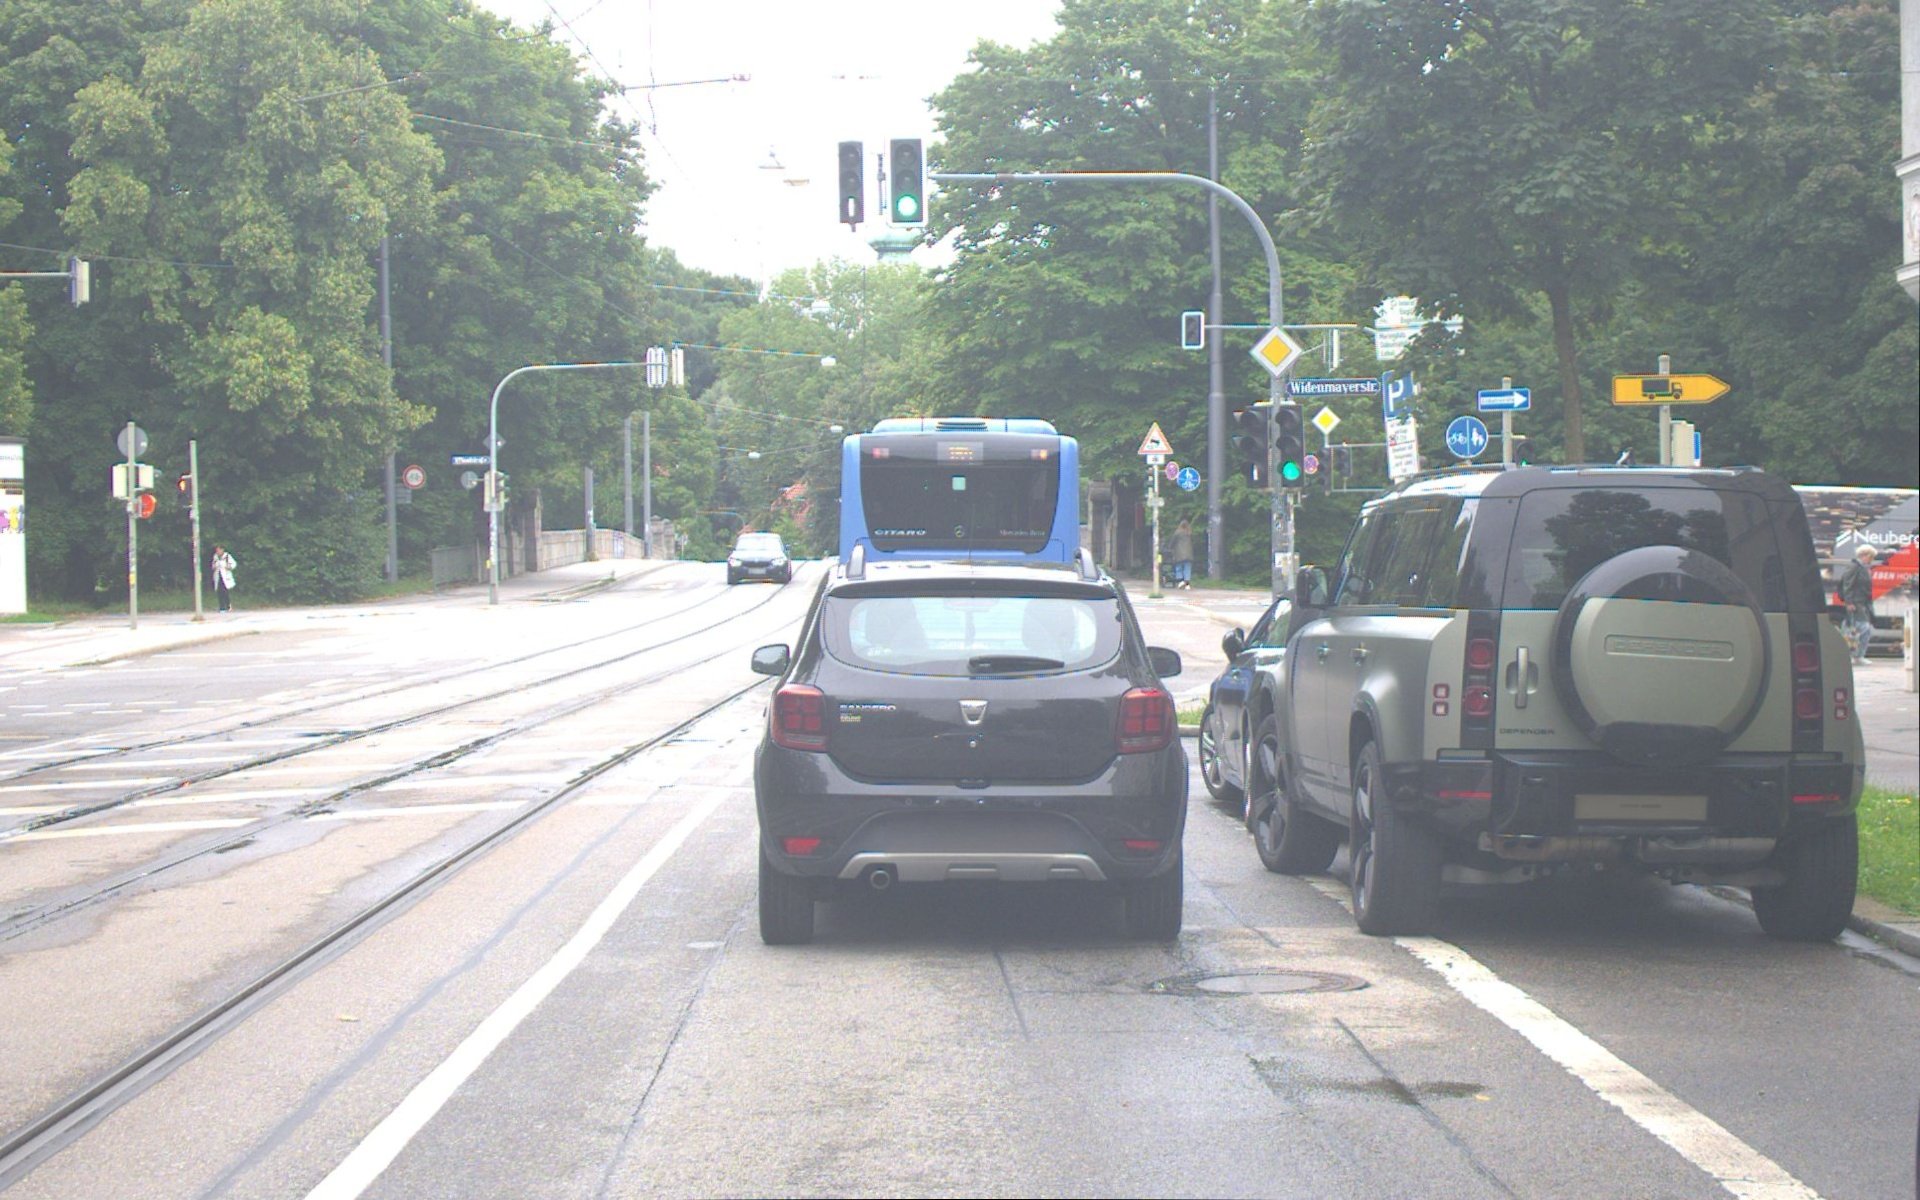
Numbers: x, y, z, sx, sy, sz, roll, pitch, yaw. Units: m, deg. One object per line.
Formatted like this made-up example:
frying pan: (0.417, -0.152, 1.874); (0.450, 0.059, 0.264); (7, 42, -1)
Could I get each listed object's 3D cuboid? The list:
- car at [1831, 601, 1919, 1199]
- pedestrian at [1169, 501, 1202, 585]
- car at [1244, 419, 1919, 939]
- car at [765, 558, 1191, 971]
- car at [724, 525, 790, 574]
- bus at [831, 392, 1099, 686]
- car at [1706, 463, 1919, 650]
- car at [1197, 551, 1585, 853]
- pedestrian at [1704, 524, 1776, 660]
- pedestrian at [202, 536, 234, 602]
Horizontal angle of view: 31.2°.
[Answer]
car: (2.652, 0.749, 4.582); (1.716, 1.421, 4.602); (1, 0, -1)
pedestrian: (5.707, -1.445, 87.078); (0.762, 2.109, 0.853); (-1, 1, 0)
car: (2.539, 0.275, 15.196); (1.914, 1.899, 4.808); (1, 0, -3)
car: (0.034, 0.618, 14.936); (1.600, 1.551, 3.525); (1, 0, -1)
car: (-5.880, -1.462, 99.777); (1.787, 1.365, 3.400); (1, 0, -2)
bus: (-0.079, -0.658, 38.986); (2.678, 2.987, 6.961); (1, 0, -2)
car: (13.788, -0.591, 49.968); (5.295, 2.604, 2.231); (1, 0, -3)
car: (2.466, 0.528, 20.620); (1.714, 1.586, 4.327); (1, 0, -1)
pedestrian: (10.089, -0.103, 44.477); (0.705, 1.726, 0.843); (1, 0, 0)
pedestrian: (-16.888, -0.708, 78.223); (0.532, 1.496, 0.588); (1, 0, 4)
